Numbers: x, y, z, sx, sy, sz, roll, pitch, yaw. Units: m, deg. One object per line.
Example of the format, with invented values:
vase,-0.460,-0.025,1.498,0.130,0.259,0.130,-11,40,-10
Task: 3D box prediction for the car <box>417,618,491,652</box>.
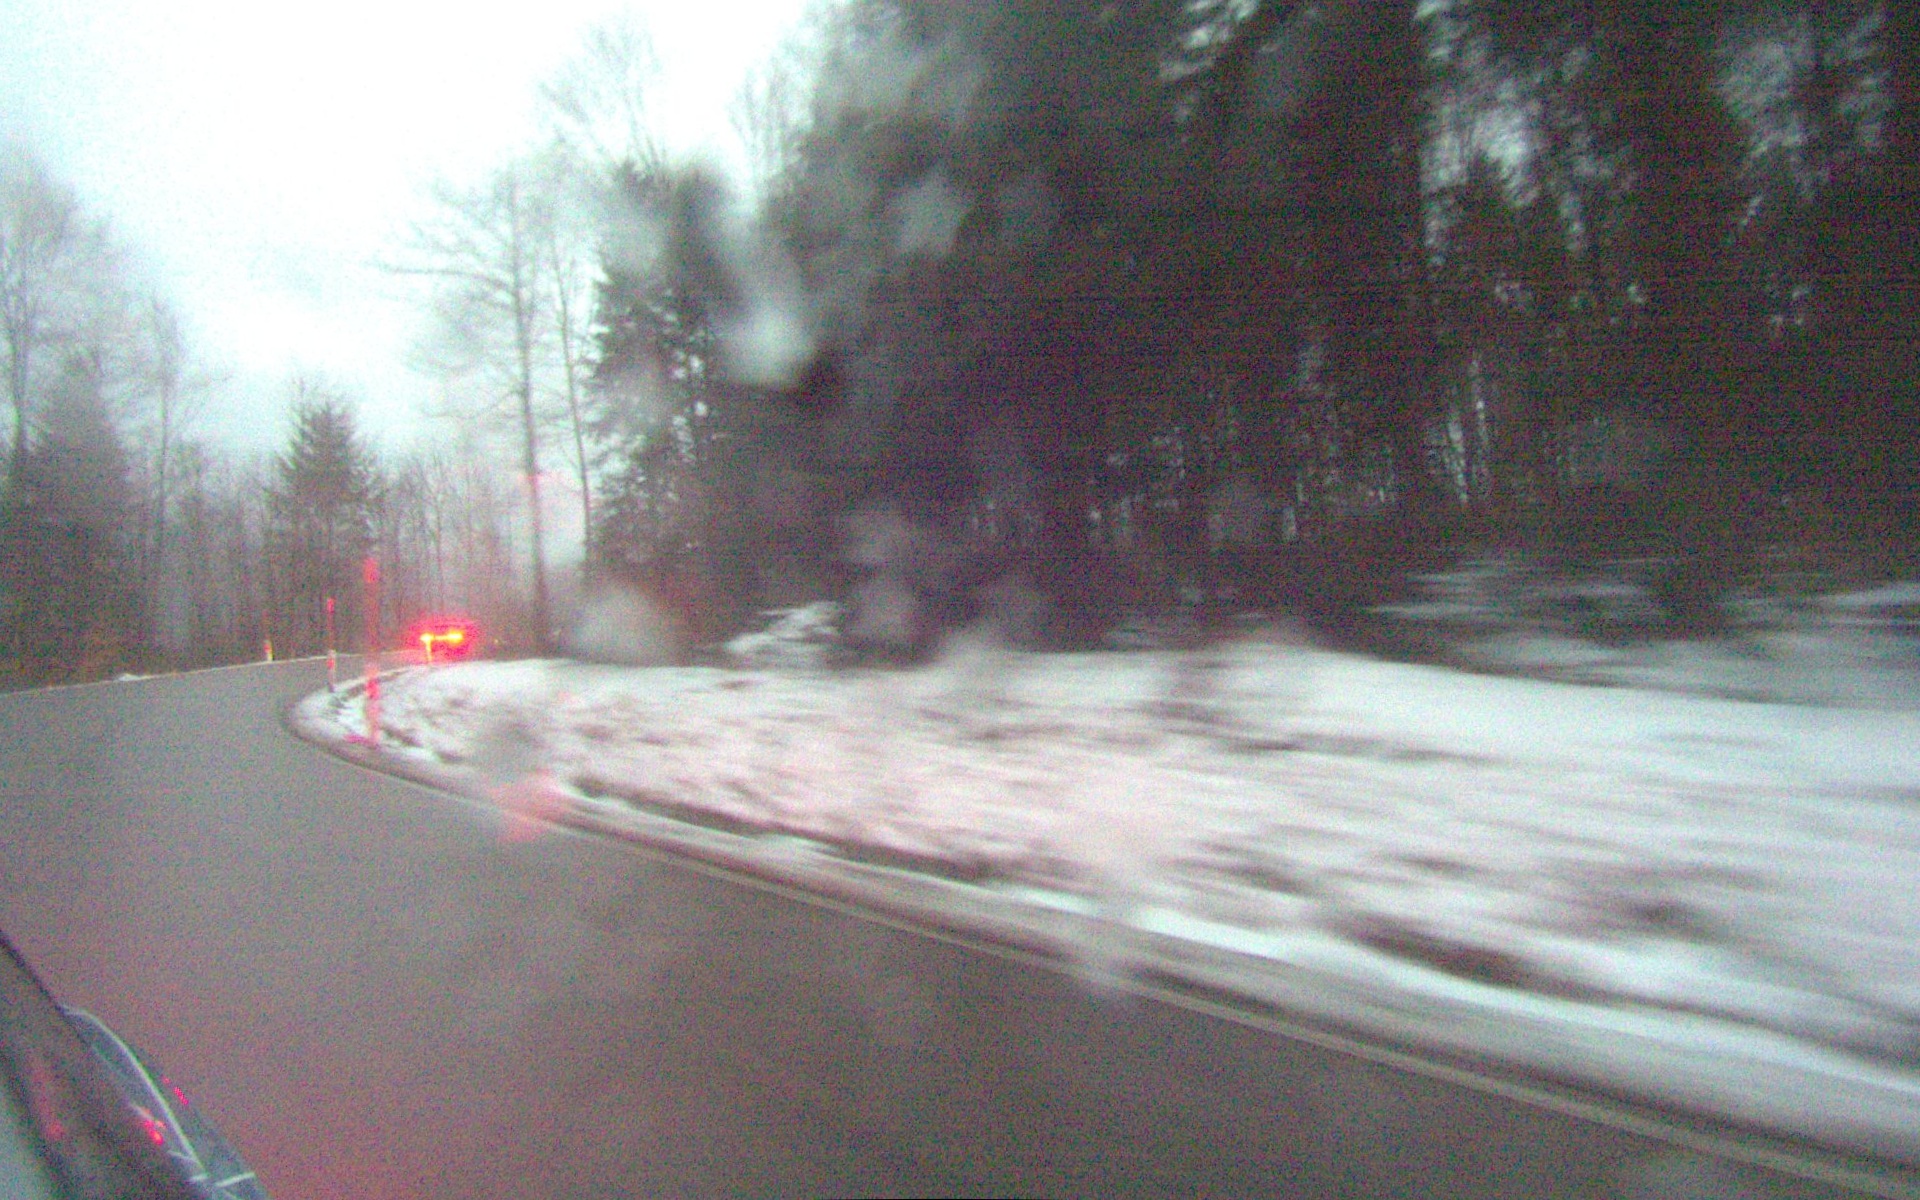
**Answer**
car,-23.738,1.651,47.671,1.752,1.504,4.556,0,-2,-8
